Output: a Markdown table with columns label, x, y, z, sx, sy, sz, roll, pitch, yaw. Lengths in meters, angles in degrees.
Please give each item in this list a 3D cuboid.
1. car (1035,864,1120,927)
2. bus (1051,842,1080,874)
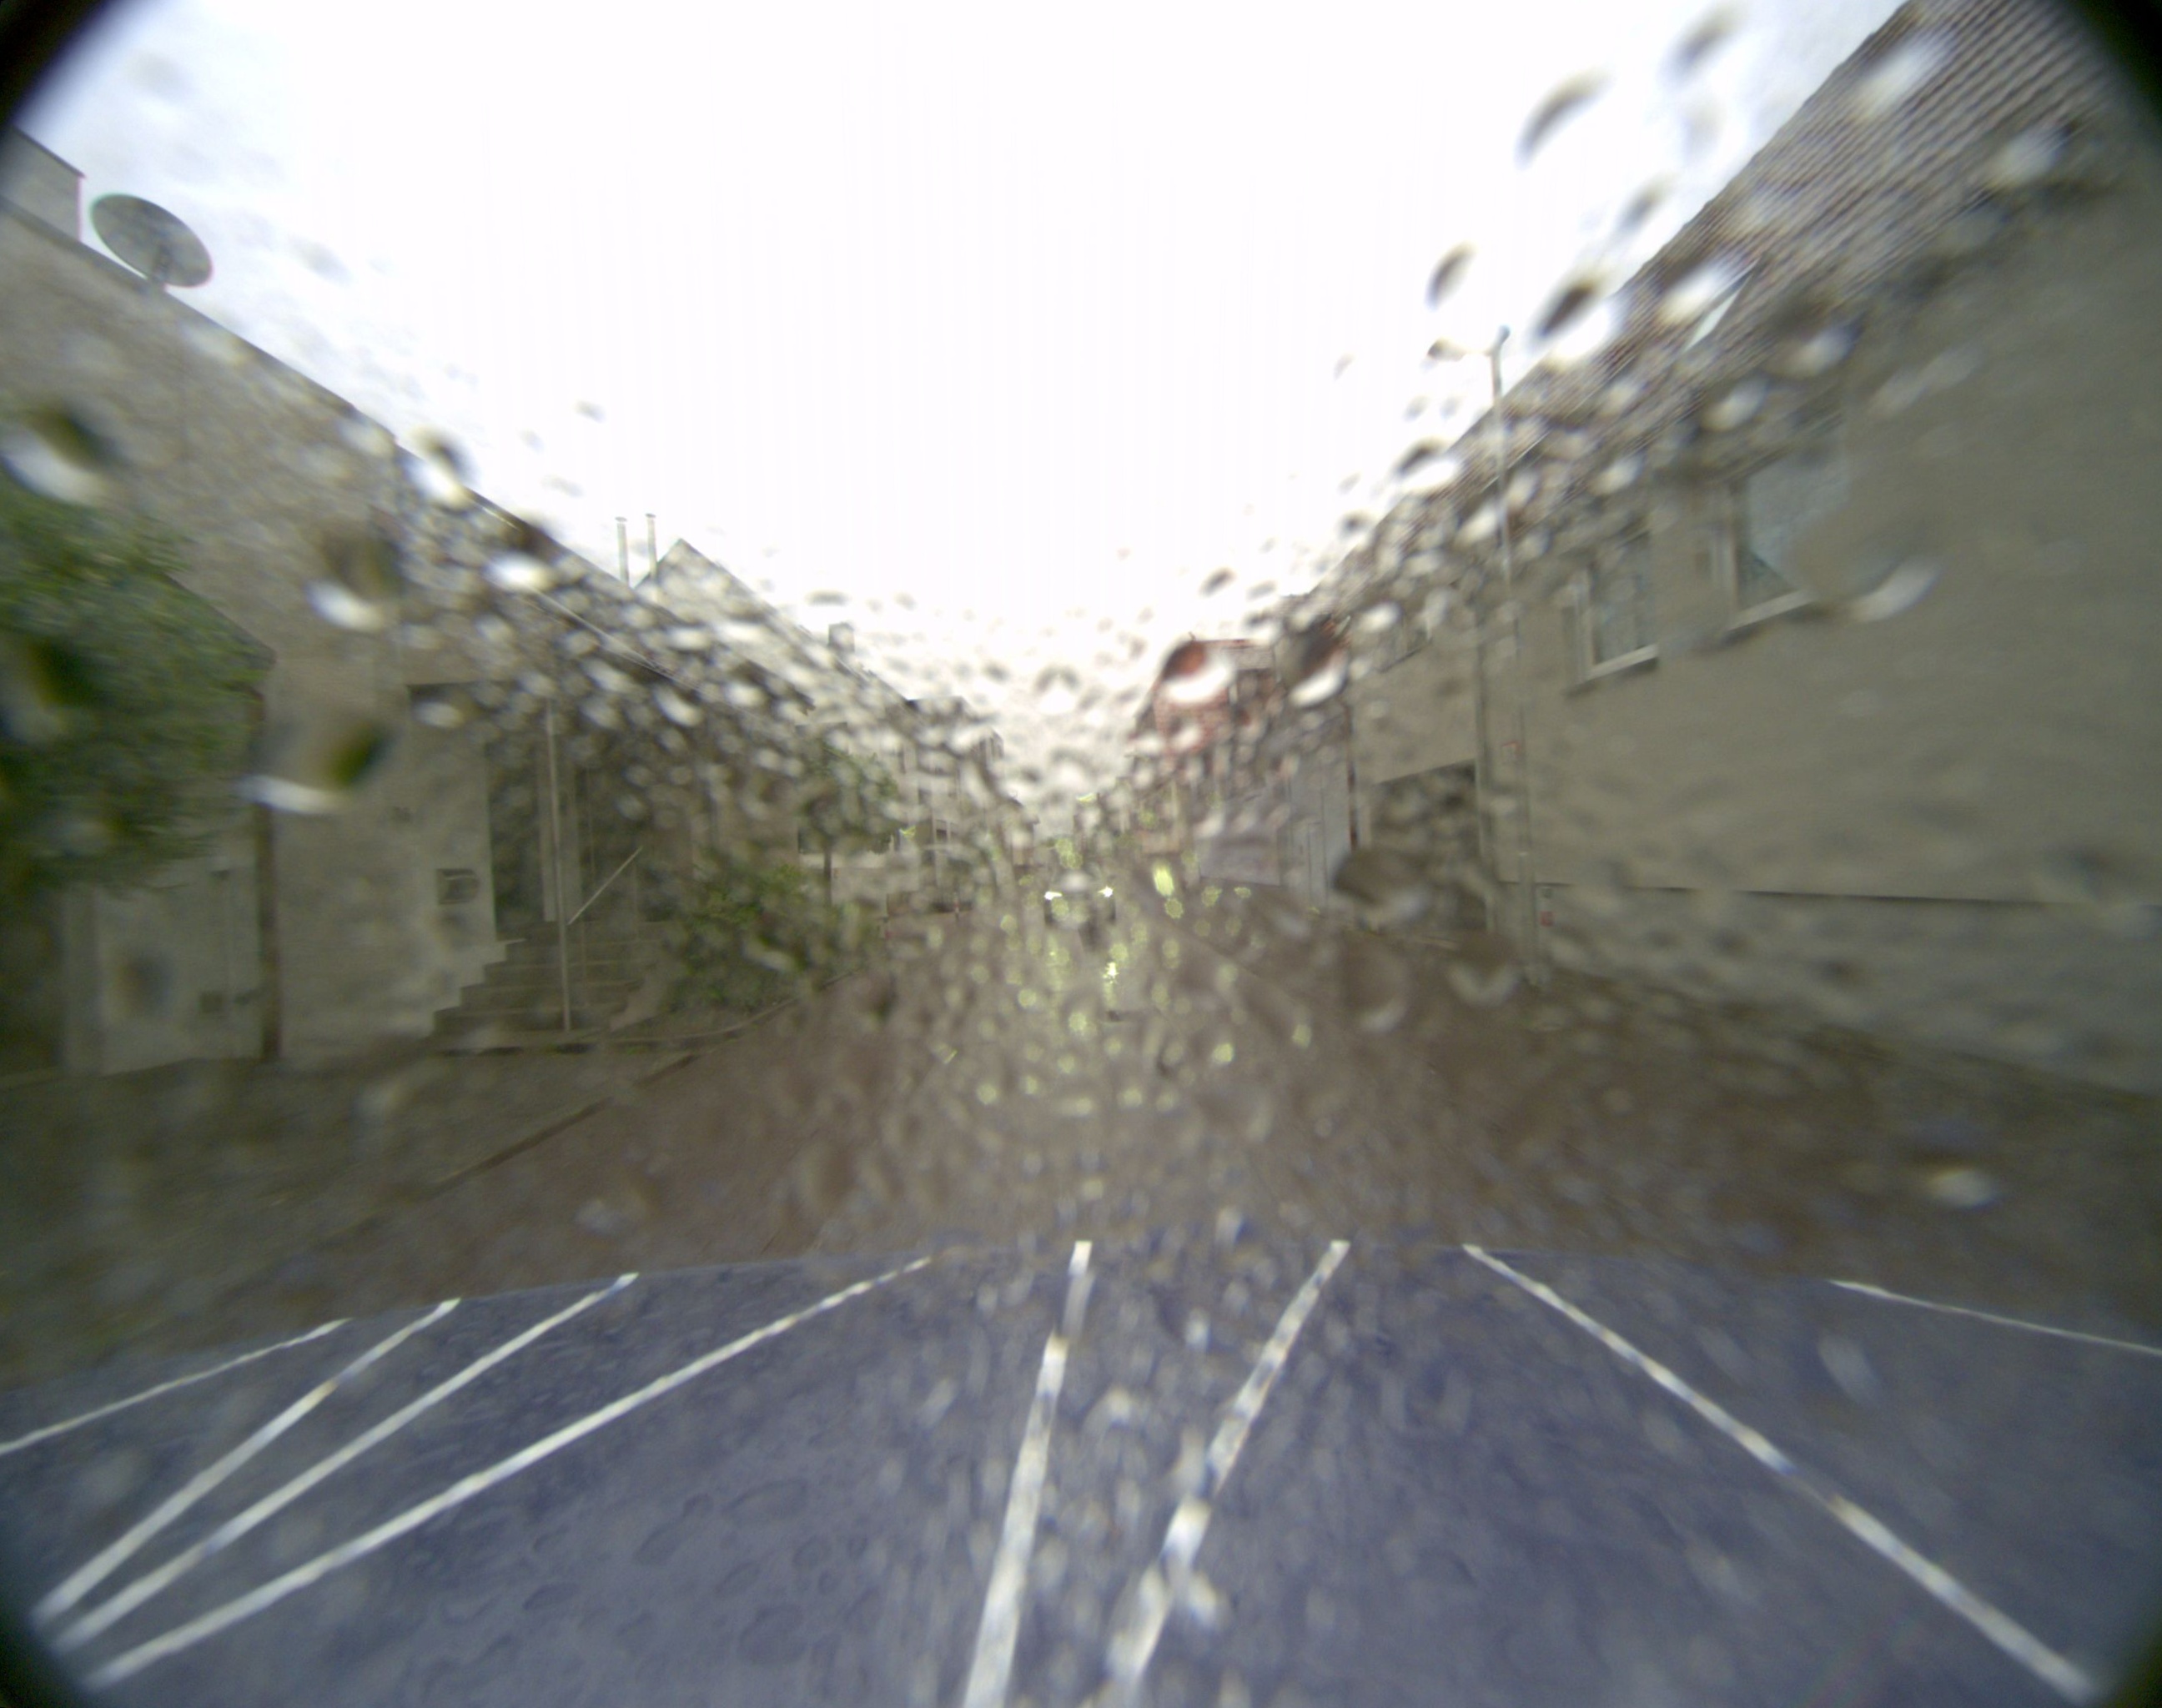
| label | x | y | z | sx | sy | sz | roll | pitch | yaw |
| --- | --- | --- | --- | --- | --- | --- | --- | --- | --- |
| car | 0.011 | 1.028 | 20.152 | 1.800 | 1.341 | 3.739 | -4 | 0 | 5 |
| bus | -2.048 | 0.413 | 94.988 | 2.893 | 3.589 | 11.976 | -3 | 0 | -4 |
